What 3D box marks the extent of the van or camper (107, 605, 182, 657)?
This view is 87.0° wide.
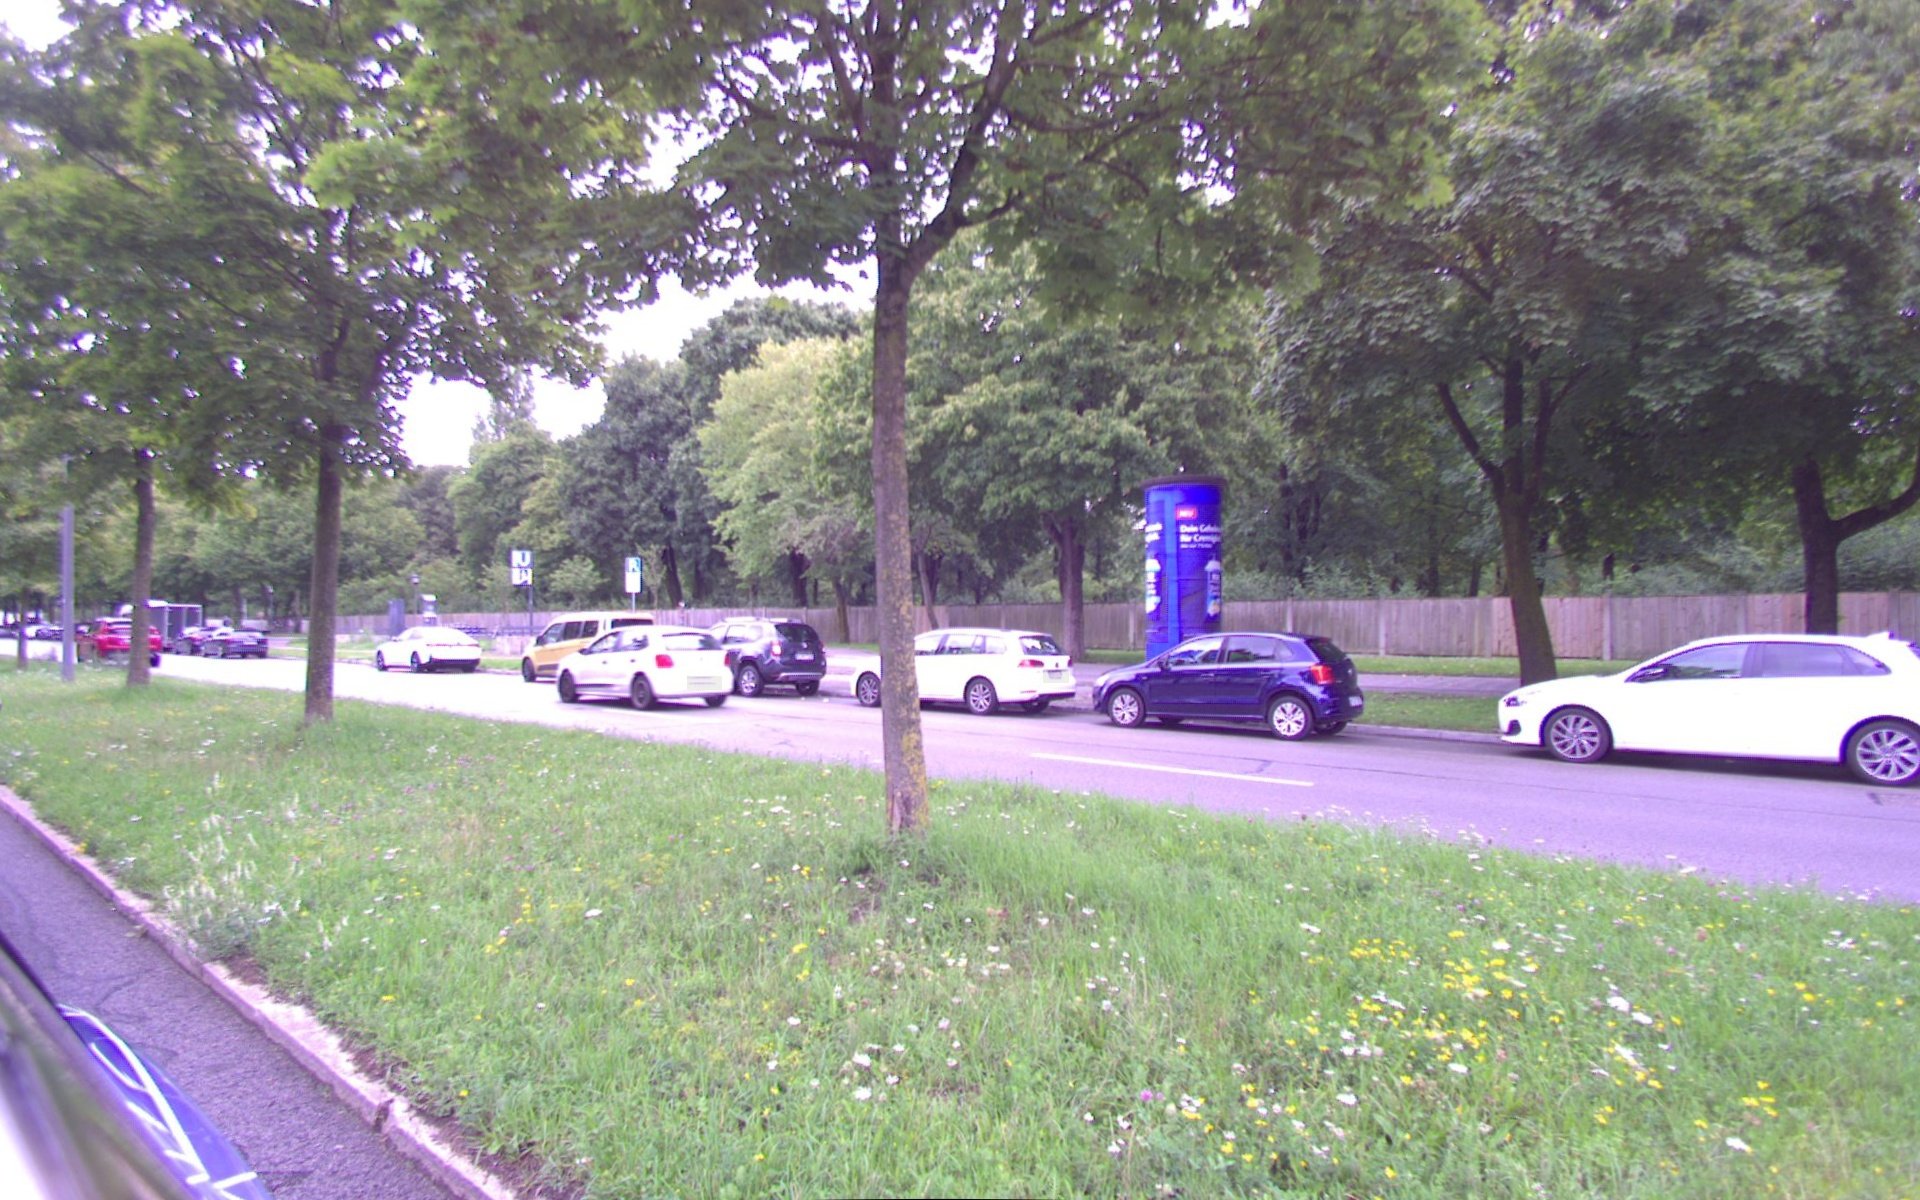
[{"bbox_3d":[-47.614,1.827,59.029,7.542,2.859,2.014,-2,-3,41],"label":"van or camper"}]

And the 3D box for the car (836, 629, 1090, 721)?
[{"bbox_3d":[-0.046,1.275,18.253,4.529,1.461,1.744,-2,-3,40],"label":"car"}]

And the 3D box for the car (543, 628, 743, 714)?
[{"bbox_3d":[-5.750,1.211,18.174,3.834,1.385,1.602,-1,-3,40],"label":"car"}]

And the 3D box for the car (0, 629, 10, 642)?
[{"bbox_3d":[-107.467,3.975,113.039,4.170,1.454,1.864,-1,0,45],"label":"car"}]

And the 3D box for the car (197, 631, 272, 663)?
[{"bbox_3d":[-33.570,2.154,46.796,4.428,1.436,1.781,-2,-3,41],"label":"car"}]

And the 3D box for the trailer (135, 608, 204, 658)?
[{"bbox_3d":[-43.001,1.820,55.023,4.655,2.610,1.996,-2,-3,41],"label":"trailer"}]

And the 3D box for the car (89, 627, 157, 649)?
[{"bbox_3d":[-65.092,2.924,78.769,1.779,1.497,3.993,-2,0,6],"label":"car"}]

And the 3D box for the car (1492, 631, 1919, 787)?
[{"bbox_3d":[8.357,1.078,11.046,4.276,1.455,1.590,-2,-3,41],"label":"car"}]

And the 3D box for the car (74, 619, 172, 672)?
[{"bbox_3d":[-28.680,1.538,34.647,4.243,1.709,1.884,-2,-3,41],"label":"car"}]

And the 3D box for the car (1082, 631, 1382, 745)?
[{"bbox_3d":[3.841,1.180,14.631,3.892,1.428,1.597,-1,-3,38],"label":"car"}]

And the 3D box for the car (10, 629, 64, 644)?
[{"bbox_3d":[-93.270,3.700,102.307,1.574,1.376,3.988,-1,0,10],"label":"car"}]

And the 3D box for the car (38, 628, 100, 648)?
[{"bbox_3d":[-81.545,3.437,92.655,1.869,1.569,3.990,-2,0,8],"label":"car"}]

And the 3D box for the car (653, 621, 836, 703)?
[{"bbox_3d":[-4.843,1.324,22.496,4.252,1.658,1.719,-2,-3,40],"label":"car"}]

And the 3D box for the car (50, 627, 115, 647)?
[{"bbox_3d":[-76.796,3.212,88.648,1.872,1.569,3.984,-2,0,13],"label":"car"}]

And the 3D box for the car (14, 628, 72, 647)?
[{"bbox_3d":[-90.781,3.691,100.208,1.869,1.569,3.990,-2,0,8],"label":"car"}]

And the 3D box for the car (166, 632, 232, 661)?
[{"bbox_3d":[-38.525,2.327,51.225,4.235,1.394,1.781,-2,-3,41],"label":"car"}]

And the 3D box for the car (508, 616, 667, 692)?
[{"bbox_3d":[-9.777,1.363,26.350,4.815,1.796,1.795,-2,-3,42],"label":"car"}]

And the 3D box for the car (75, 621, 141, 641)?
[{"bbox_3d":[-71.755,2.603,85.295,1.872,1.474,3.984,-2,0,13],"label":"car"}]

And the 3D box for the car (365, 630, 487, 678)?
[{"bbox_3d":[-17.742,1.740,33.524,4.871,1.484,1.838,-2,-3,40],"label":"car"}]

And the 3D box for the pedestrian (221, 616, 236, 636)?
[{"bbox_3d":[-64.782,2.310,89.632,0.872,1.781,0.761,-1,-2,37],"label":"pedestrian"}]
